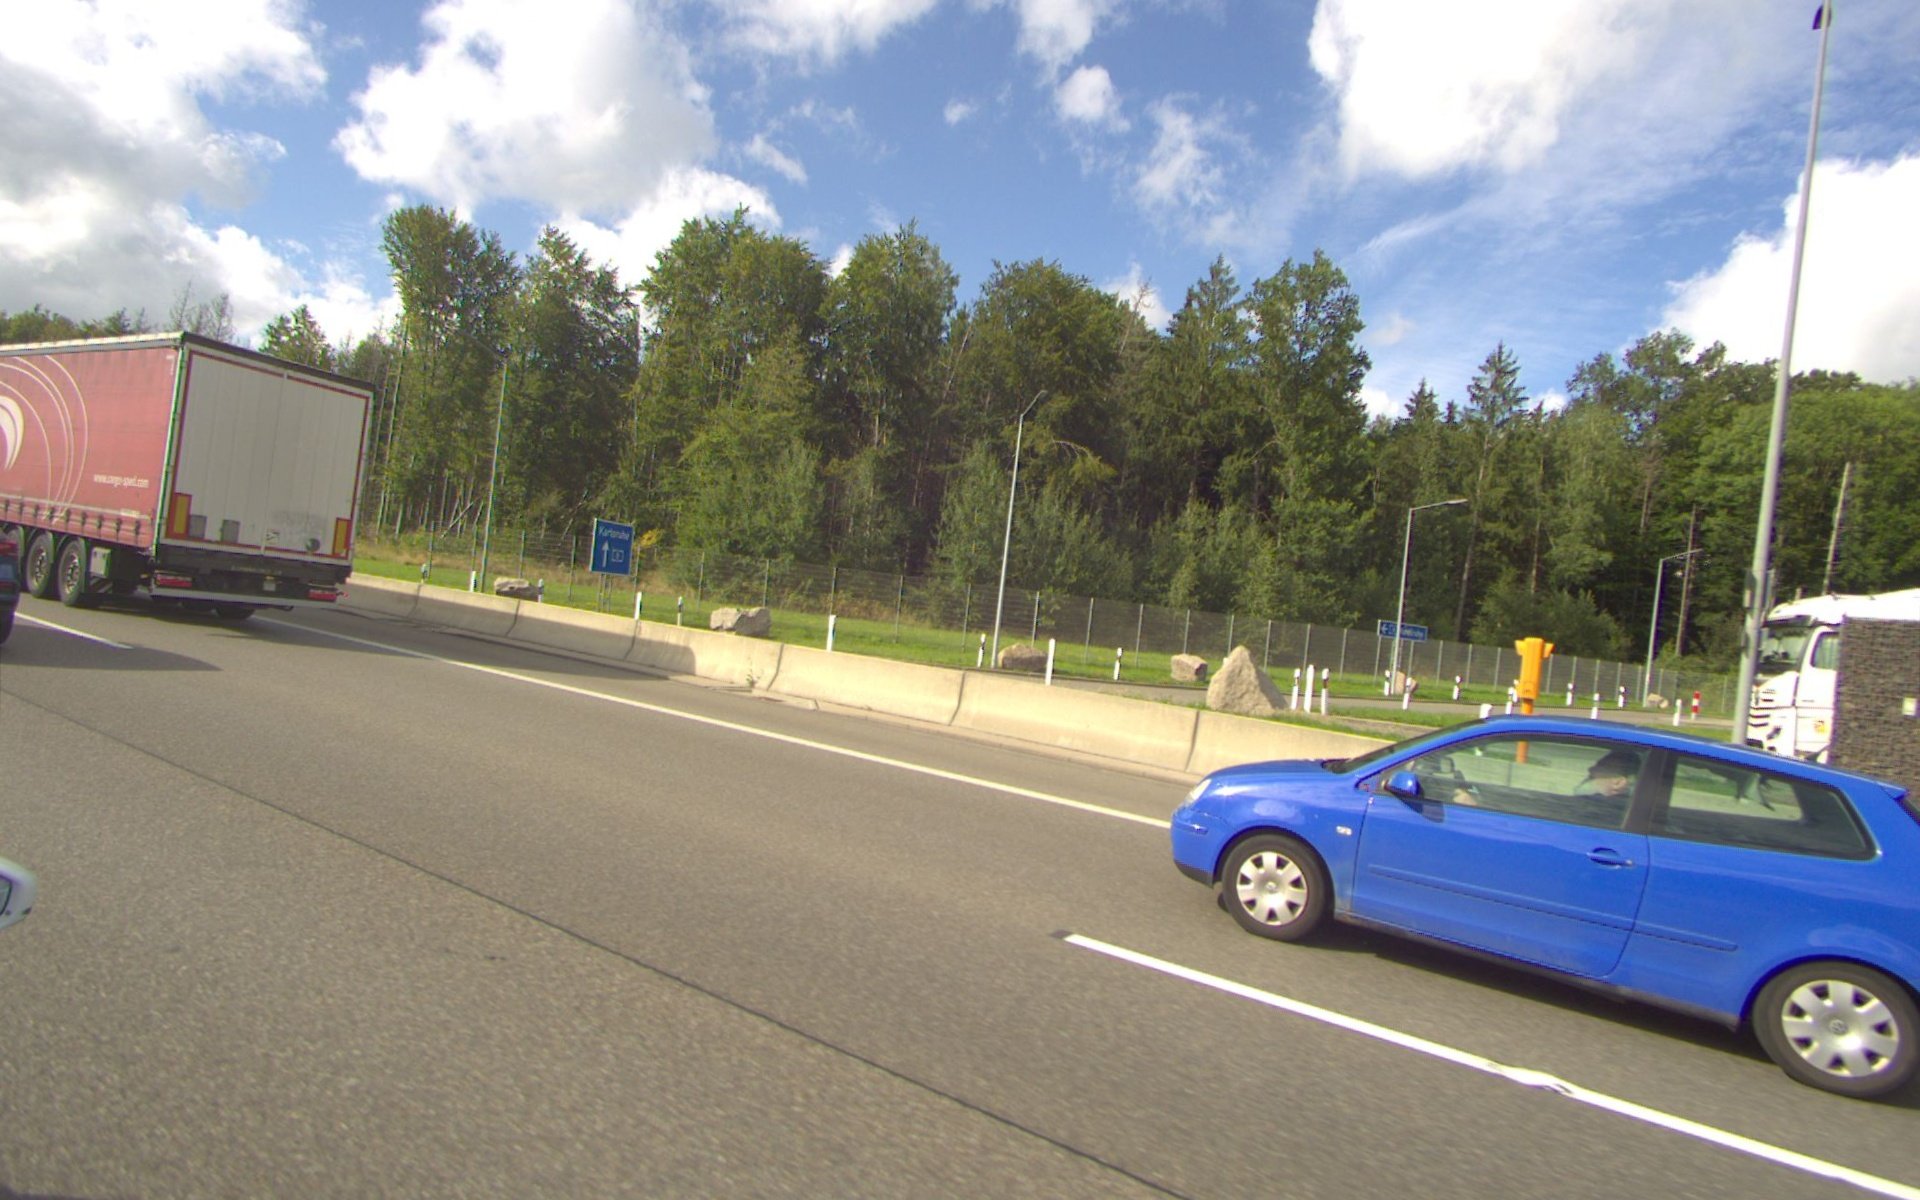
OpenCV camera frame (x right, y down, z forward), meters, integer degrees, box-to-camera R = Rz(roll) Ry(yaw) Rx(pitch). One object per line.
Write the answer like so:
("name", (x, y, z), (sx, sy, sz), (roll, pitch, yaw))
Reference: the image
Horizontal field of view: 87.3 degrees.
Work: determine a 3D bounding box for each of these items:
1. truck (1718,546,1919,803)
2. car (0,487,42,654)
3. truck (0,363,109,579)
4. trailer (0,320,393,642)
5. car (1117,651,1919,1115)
("truck", (19.600, 1.684, 19.425), (7.049, 4.563, 2.878), (7, 1, 26))
("car", (-11.132, -0.539, 9.985), (4.383, 1.549, 1.775), (7, 0, 32))
("truck", (-21.432, -2.899, 21.677), (5.677, 4.093, 2.778), (7, -1, 32))
("trailer", (-15.421, -2.195, 17.939), (13.486, 4.093, 2.778), (7, -1, 32))
("car", (3.101, 1.297, 5.635), (3.933, 1.459, 1.653), (7, -1, 31))
